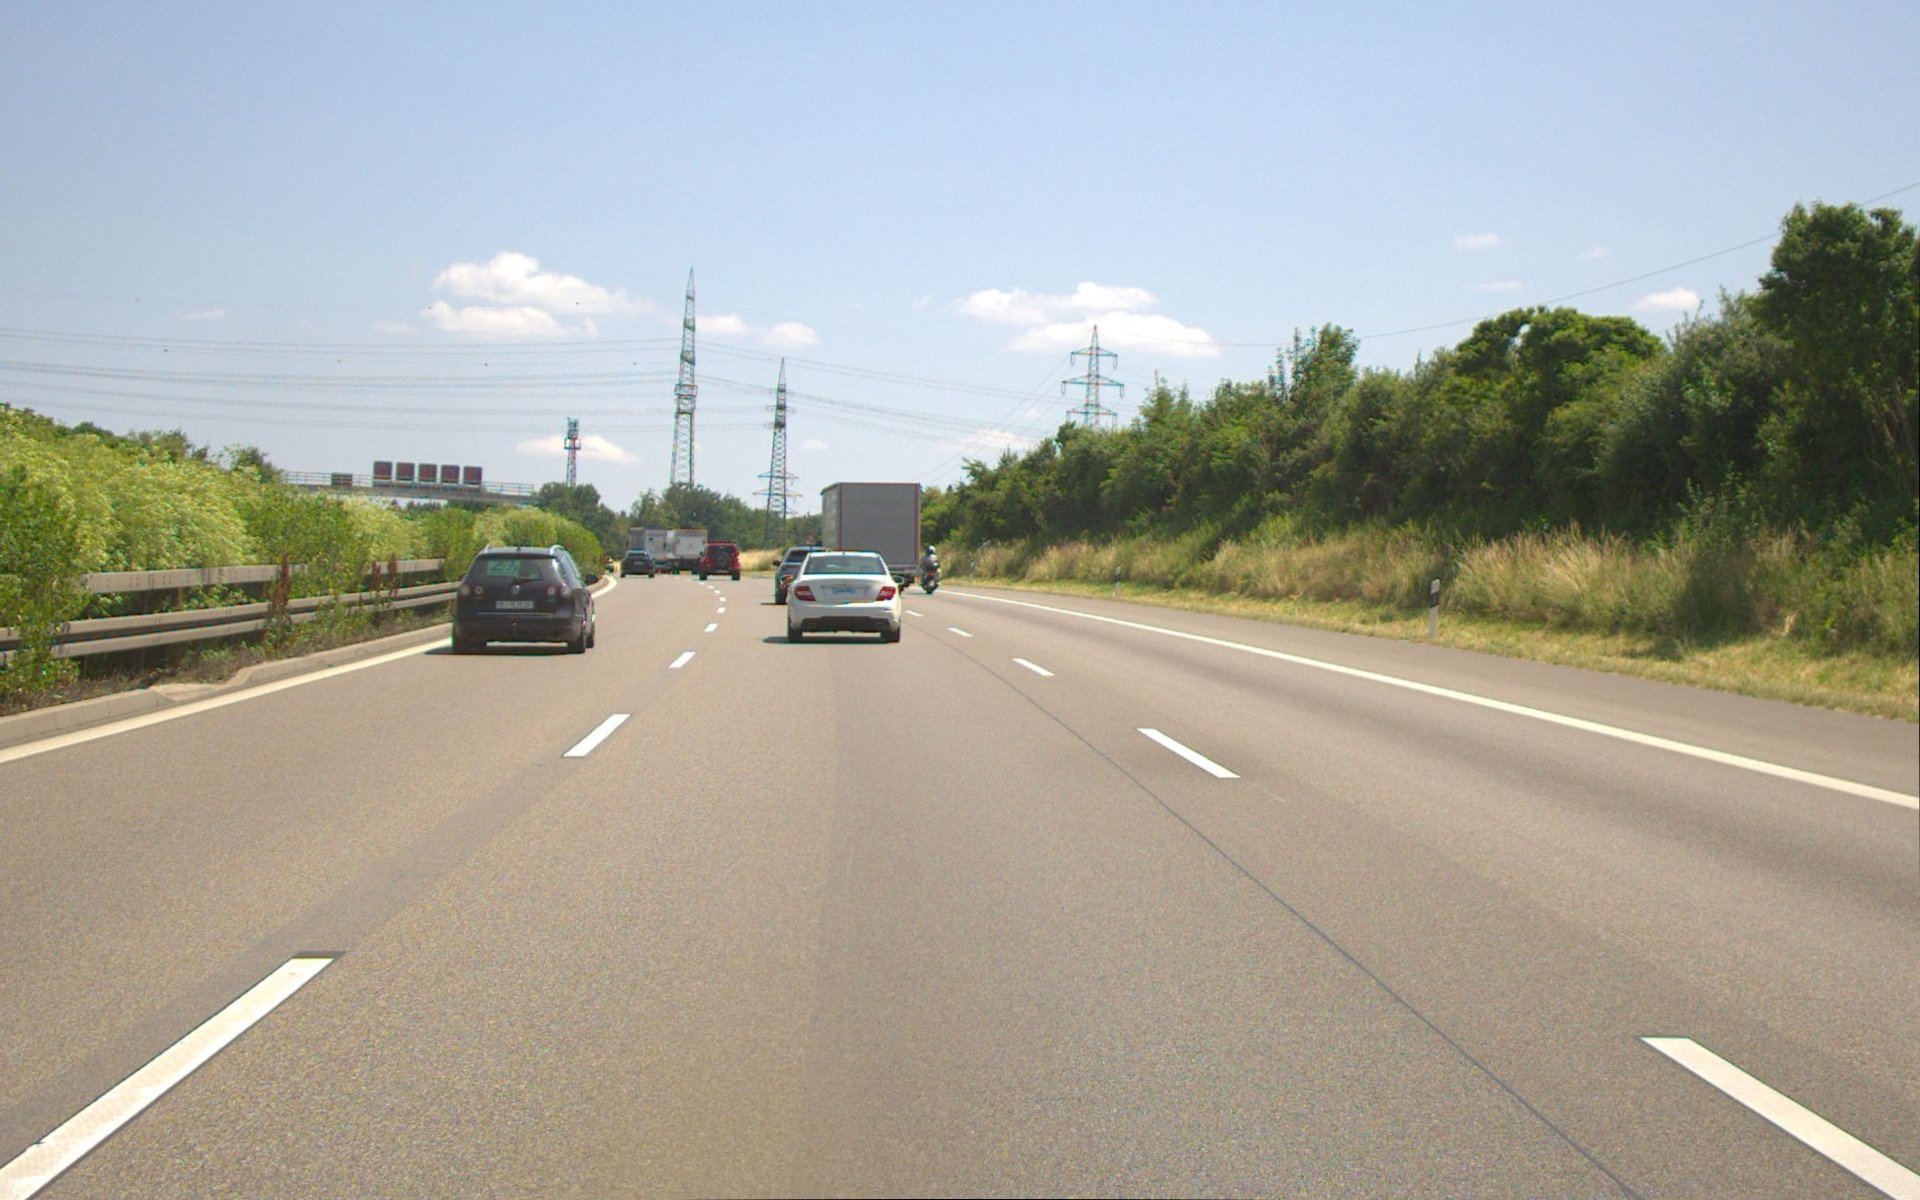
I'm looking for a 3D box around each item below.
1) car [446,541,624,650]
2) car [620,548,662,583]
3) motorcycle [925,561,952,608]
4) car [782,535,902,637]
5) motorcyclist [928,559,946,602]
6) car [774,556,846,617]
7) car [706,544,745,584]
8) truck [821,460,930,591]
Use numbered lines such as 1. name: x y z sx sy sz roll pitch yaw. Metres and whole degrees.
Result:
1. car: -5.833 -0.090 47.581 1.756 1.424 4.000 1 1 3
2. car: -17.241 -1.880 186.078 1.993 1.853 4.000 1 1 -1
3. motorcycle: -0.747 -0.546 119.036 0.809 1.602 1.782 1 0 -3
4. car: -1.910 -0.247 54.520 1.819 1.535 3.915 0 1 -3
5. motorcyclist: -0.793 -0.671 118.998 0.572 1.474 0.700 0 1 -3
6. car: -3.940 -0.381 90.561 1.838 1.535 3.915 0 1 -2
7. car: -11.697 -1.803 171.896 1.901 1.919 4.001 0 1 -4
8. truck: -2.750 -2.297 108.470 3.221 3.911 9.061 1 0 -2
